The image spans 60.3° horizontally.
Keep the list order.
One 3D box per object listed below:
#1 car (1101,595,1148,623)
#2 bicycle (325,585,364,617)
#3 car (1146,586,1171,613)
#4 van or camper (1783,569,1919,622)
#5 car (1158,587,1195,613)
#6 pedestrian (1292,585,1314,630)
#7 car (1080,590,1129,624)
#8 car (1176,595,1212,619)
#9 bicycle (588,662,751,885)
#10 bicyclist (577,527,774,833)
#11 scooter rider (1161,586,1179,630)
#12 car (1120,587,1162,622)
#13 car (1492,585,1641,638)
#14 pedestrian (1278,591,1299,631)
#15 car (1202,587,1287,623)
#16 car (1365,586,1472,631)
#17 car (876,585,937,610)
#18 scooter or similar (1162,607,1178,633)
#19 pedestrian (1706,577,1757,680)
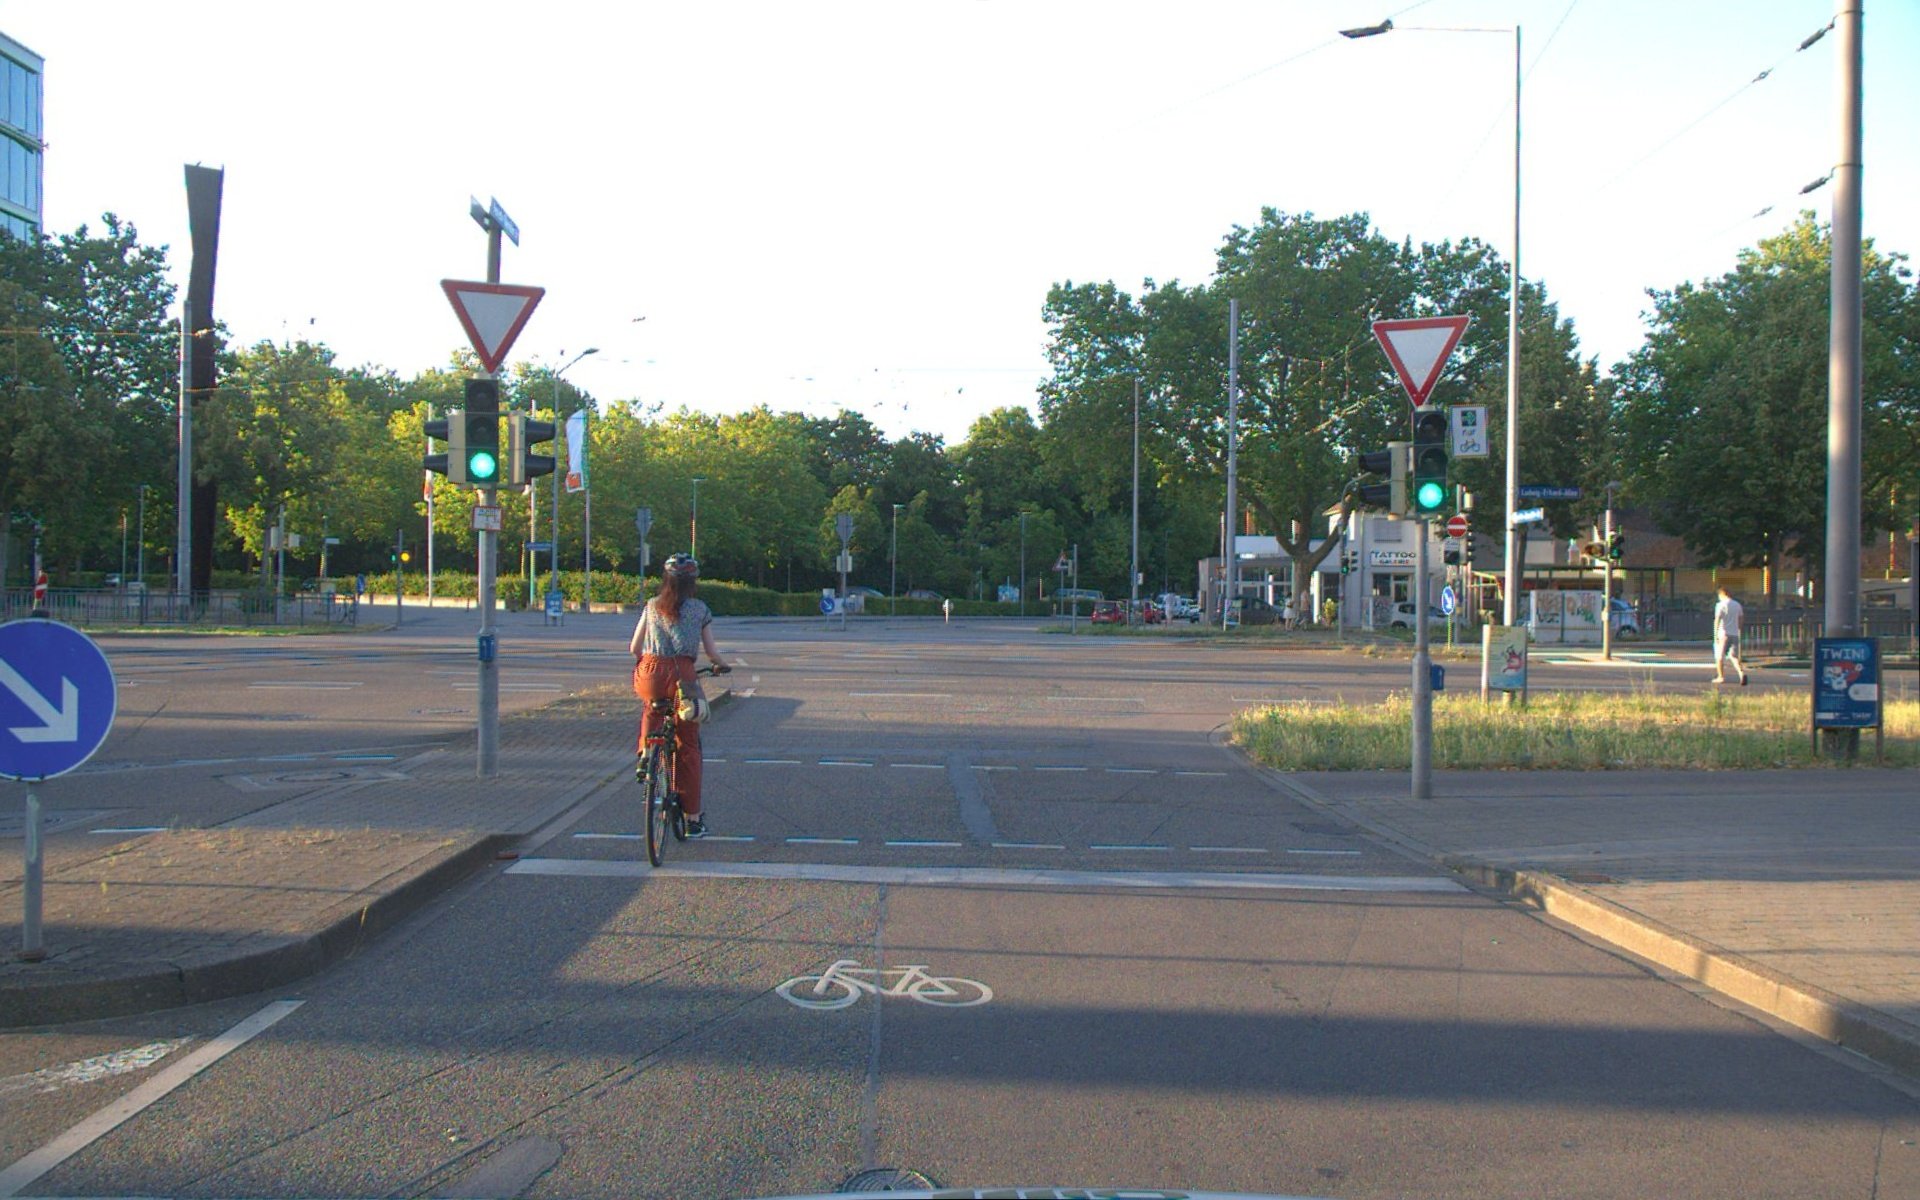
[{"bbox_3d":[9.908,0.523,99.147,1.952,1.601,4.002,1,0,19],"label":"car"},{"bbox_3d":[-23.195,0.021,62.370,0.685,1.156,2.391,1,0,-4],"label":"bicycle"},{"bbox_3d":[15.711,-0.054,130.925,1.951,2.049,4.003,1,0,6],"label":"car"},{"bbox_3d":[43.575,-0.221,79.933,6.426,2.452,2.265,1,0,3],"label":"van or camper"},{"bbox_3d":[17.731,0.011,135.434,1.953,2.049,3.998,1,0,24],"label":"car"},{"bbox_3d":[13.971,0.307,67.419,0.704,1.785,0.897,1,0,23],"label":"pedestrian"},{"bbox_3d":[8.366,0.383,95.326,1.829,1.907,3.875,1,0,20],"label":"car"},{"bbox_3d":[16.349,0.466,115.227,1.874,1.630,4.002,1,0,17],"label":"car"},{"bbox_3d":[-1.682,0.966,9.872,0.621,1.086,2.122,1,0,-1],"label":"bicycle"},{"bbox_3d":[-1.686,0.457,9.988,1.011,1.748,0.996,1,0,-1],"label":"bicyclist"},{"bbox_3d":[9.157,0.362,72.173,0.688,1.887,0.669,1,-1,-1],"label":"scooter rider"},{"bbox_3d":[11.288,0.270,102.988,1.874,2.083,4.002,1,0,17],"label":"car"},{"bbox_3d":[20.754,0.379,56.702,4.445,1.758,1.860,1,0,-5],"label":"car"},{"bbox_3d":[13.657,0.451,68.738,0.704,1.667,0.897,1,0,23],"label":"pedestrian"},{"bbox_3d":[15.239,0.280,88.699,4.285,1.867,1.950,1,0,4],"label":"car"},{"bbox_3d":[20.021,0.352,72.285,4.142,1.878,2.001,1,0,2],"label":"car"},{"bbox_3d":[-3.523,-0.176,108.966,3.905,1.588,2.000,1,0,1],"label":"car"},{"bbox_3d":[9.170,0.870,72.135,0.499,1.109,1.243,1,0,-1],"label":"scooter or similar"},{"bbox_3d":[14.011,0.508,30.033,0.747,1.822,0.801,1,0,29],"label":"pedestrian"}]
